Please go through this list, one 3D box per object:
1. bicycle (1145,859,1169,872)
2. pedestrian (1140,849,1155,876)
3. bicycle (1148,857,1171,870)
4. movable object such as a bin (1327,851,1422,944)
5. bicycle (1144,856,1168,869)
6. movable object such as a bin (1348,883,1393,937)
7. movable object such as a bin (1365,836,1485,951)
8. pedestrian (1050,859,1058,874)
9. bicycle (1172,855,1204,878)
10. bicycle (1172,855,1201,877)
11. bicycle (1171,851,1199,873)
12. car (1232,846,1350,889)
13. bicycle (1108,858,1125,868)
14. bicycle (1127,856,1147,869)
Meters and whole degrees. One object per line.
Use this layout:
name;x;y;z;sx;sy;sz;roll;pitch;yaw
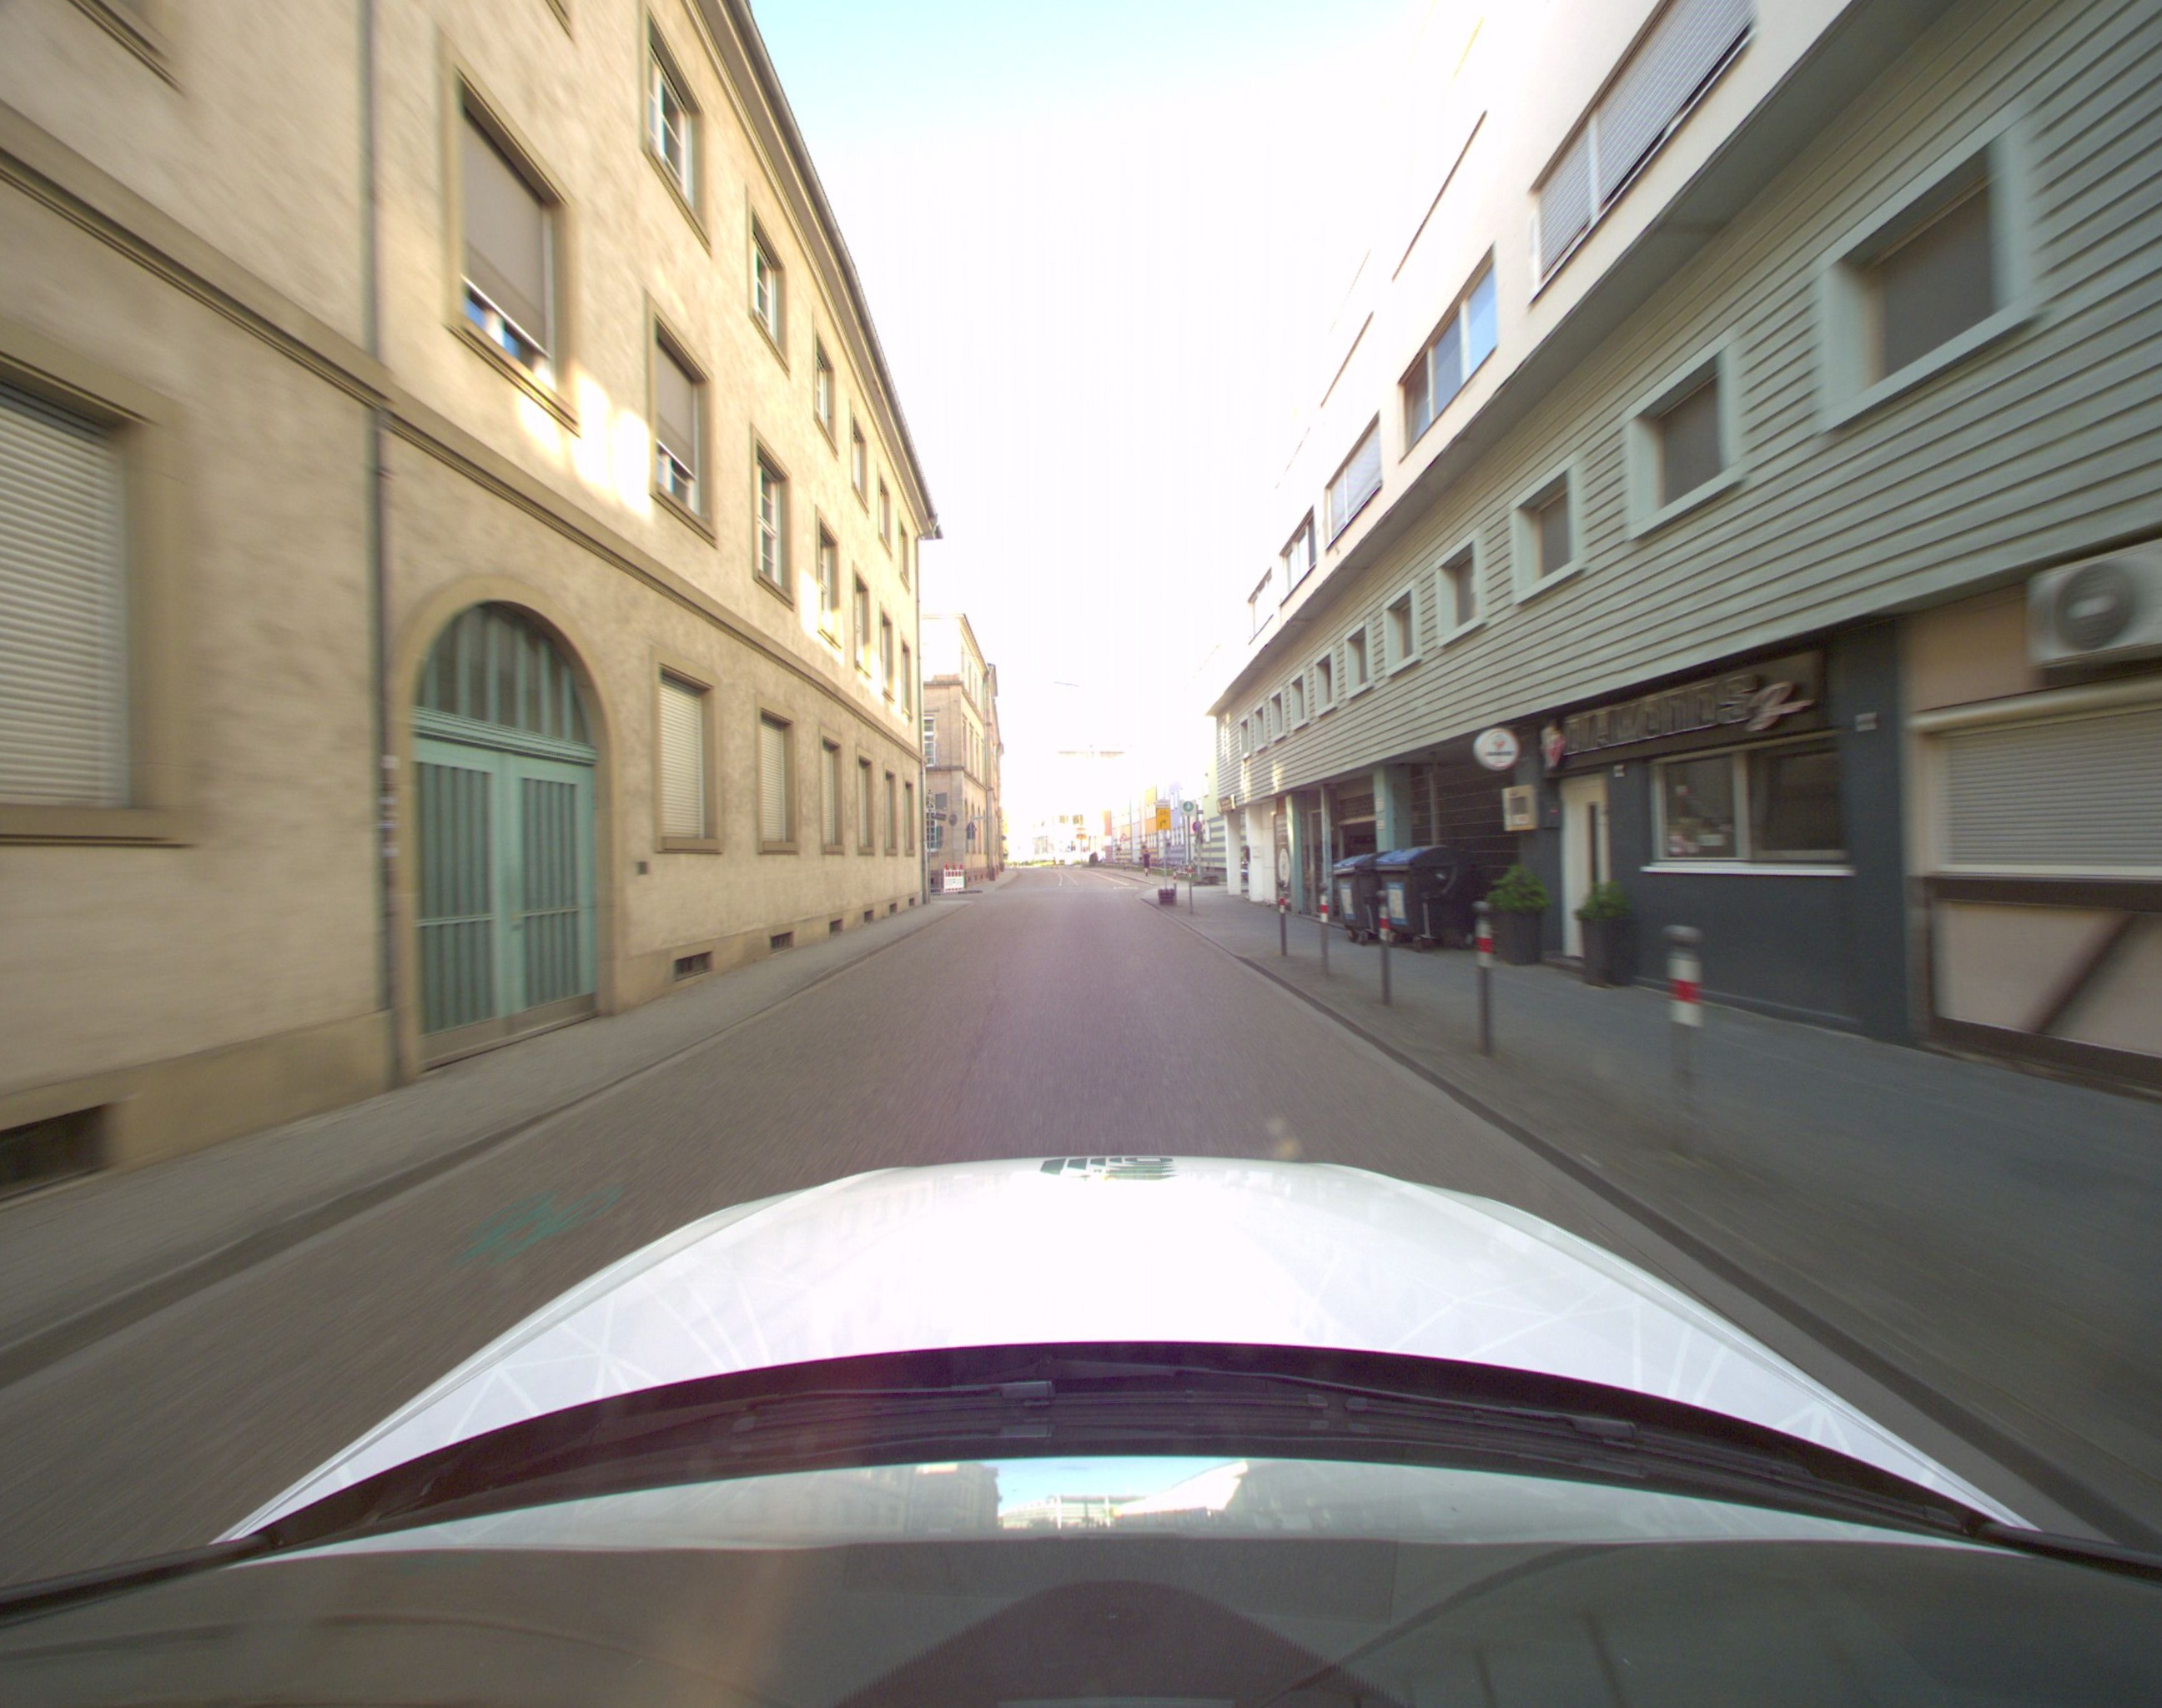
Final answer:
bicycle;5.734;0.865;61.489;1.744;0.946;0.551;-3;0;-3
pedestrian;4.437;0.541;54.584;0.695;1.760;1.188;-5;0;-2
bicycle;6.085;0.728;63.232;1.744;0.946;0.325;-3;-1;-2
movable object such as a bin;4.754;0.692;13.285;0.978;1.385;1.320;-4;-2;0
bicycle;5.736;0.648;62.220;1.744;0.946;0.551;-3;0;-3
movable object such as a bin;5.058;0.970;14.248;0.555;0.899;0.523;-4;-2;-1
movable object such as a bin;4.890;0.555;11.713;0.978;1.480;1.551;-4;-2;0
pedestrian;-3.673;1.673;110.206;0.896;2.013;0.750;-3;-1;-11
bicycle;6.250;0.716;47.603;1.744;1.141;0.551;-5;1;-3
bicycle;6.370;0.715;49.023;1.642;1.141;0.282;-5;1;-11
bicycle;6.295;0.481;49.285;1.603;1.141;0.236;-5;1;-11
car;8.187;0.522;31.953;4.069;1.482;1.863;-2;0;-3
bicycle;4.013;0.972;92.313;1.752;1.004;0.611;-4;0;-8
bicycle;5.409;0.839;78.274;1.807;1.137;0.551;-3;-1;-5
